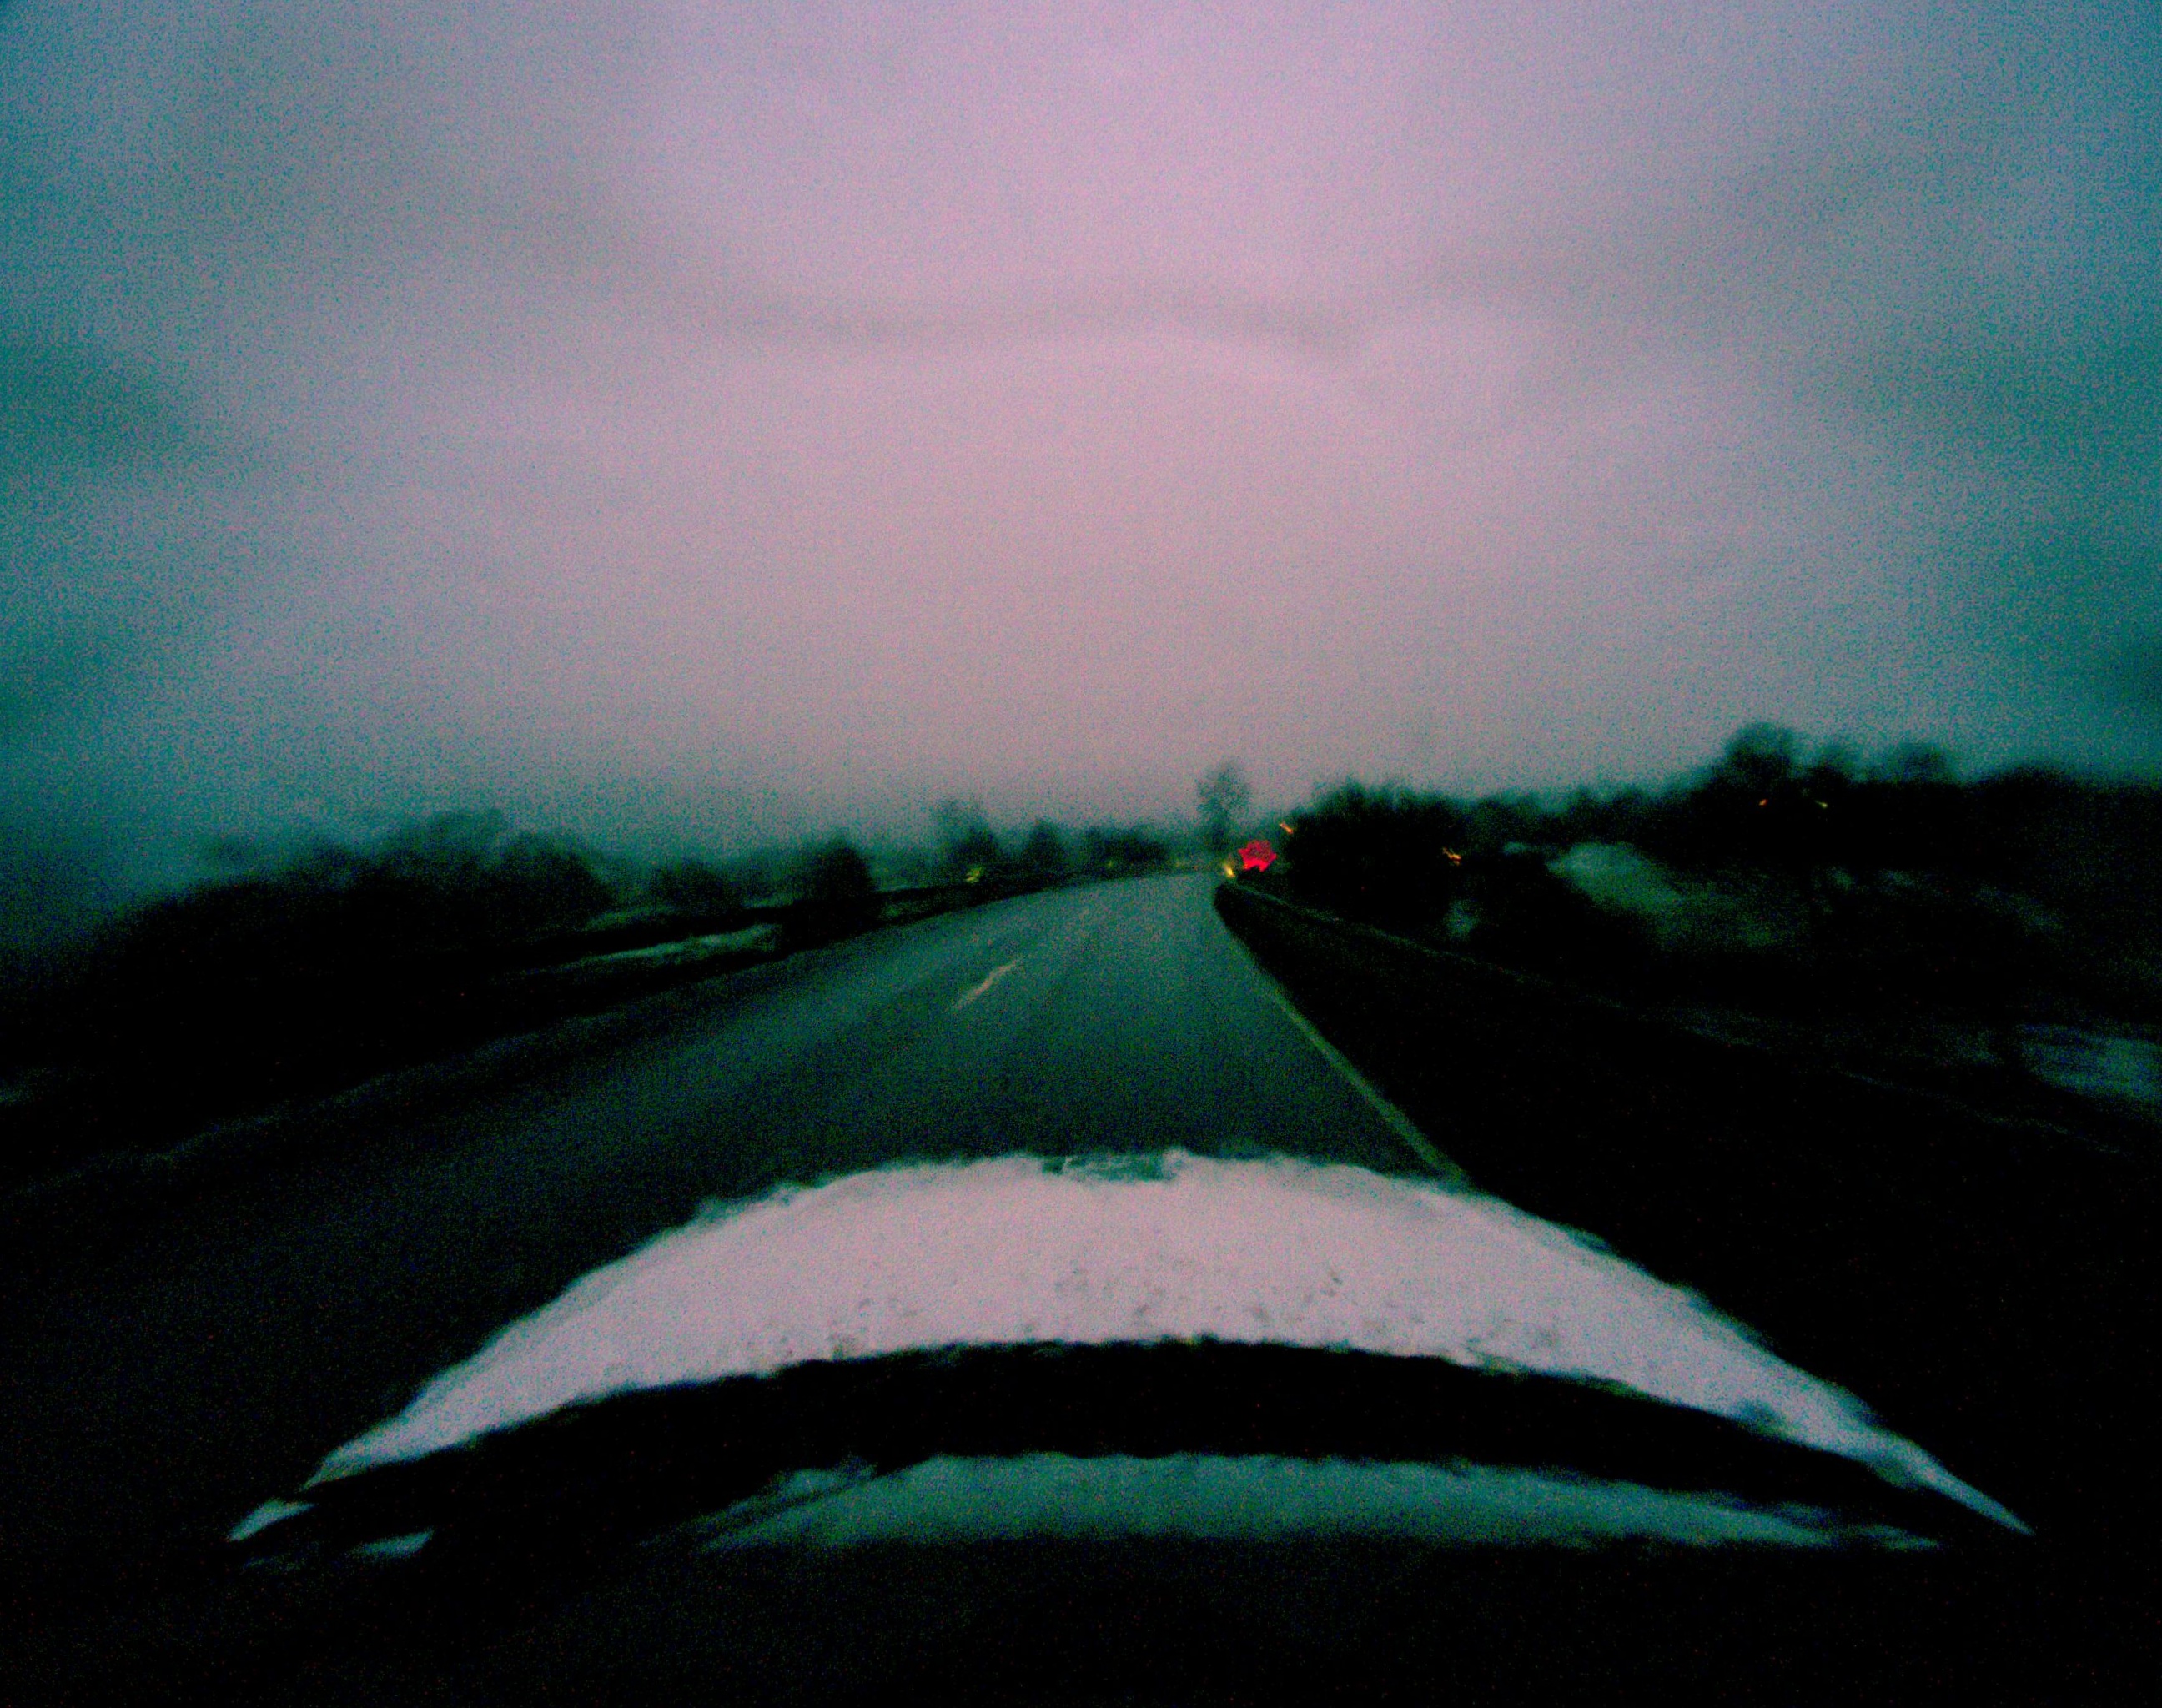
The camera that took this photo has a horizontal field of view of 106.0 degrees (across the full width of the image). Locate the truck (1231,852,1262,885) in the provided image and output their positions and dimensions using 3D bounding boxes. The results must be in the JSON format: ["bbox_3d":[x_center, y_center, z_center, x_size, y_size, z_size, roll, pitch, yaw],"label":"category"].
[{"bbox_3d":[16.297,1.475,79.975,2.516,2.869,5.940,7,-1,12],"label":"truck"}]
